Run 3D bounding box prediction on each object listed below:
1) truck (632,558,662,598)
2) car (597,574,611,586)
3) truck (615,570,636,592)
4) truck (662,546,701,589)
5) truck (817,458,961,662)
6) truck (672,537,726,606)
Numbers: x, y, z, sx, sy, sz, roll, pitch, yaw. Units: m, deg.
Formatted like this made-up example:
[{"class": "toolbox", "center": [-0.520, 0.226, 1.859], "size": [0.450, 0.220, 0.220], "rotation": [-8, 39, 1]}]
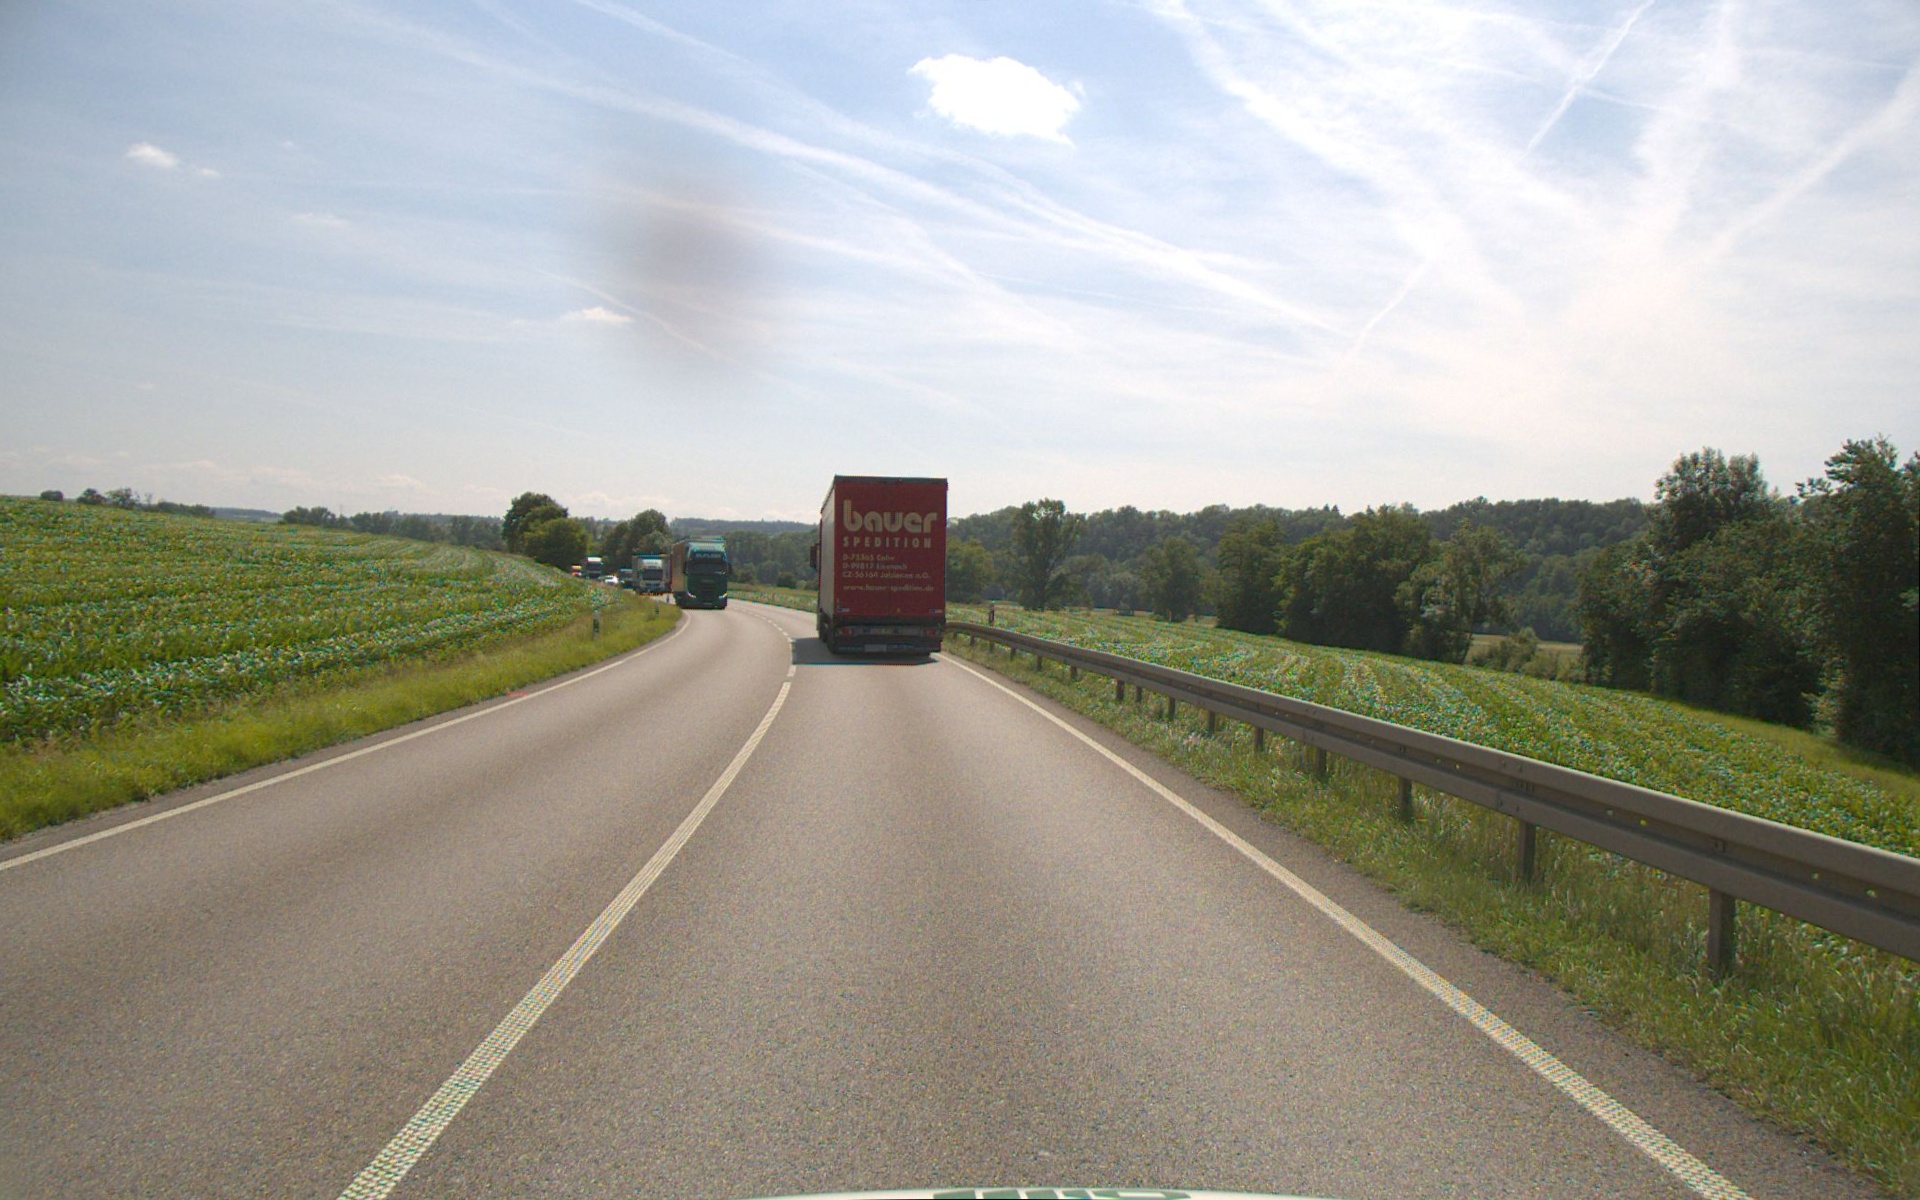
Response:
[{"class": "truck", "center": [-29.939, -2.123, 158.074], "size": [2.692, 3.641, 9.700], "rotation": [1, 1, -11]}, {"class": "car", "center": [-47.011, -2.648, 218.509], "size": [1.699, 1.465, 4.162], "rotation": [1, 1, -14]}, {"class": "truck", "center": [-37.218, -2.131, 184.141], "size": [1.976, 2.360, 5.172], "rotation": [1, 1, -15]}, {"class": "truck", "center": [-29.991, -3.415, 177.666], "size": [3.576, 4.367, 11.948], "rotation": [1, 0, -12]}, {"class": "truck", "center": [-1.852, -0.863, 39.750], "size": [3.034, 4.337, 8.306], "rotation": [1, 0, -5]}, {"class": "truck", "center": [-17.102, -1.835, 107.641], "size": [2.721, 4.068, 16.981], "rotation": [1, 1, -11]}]
